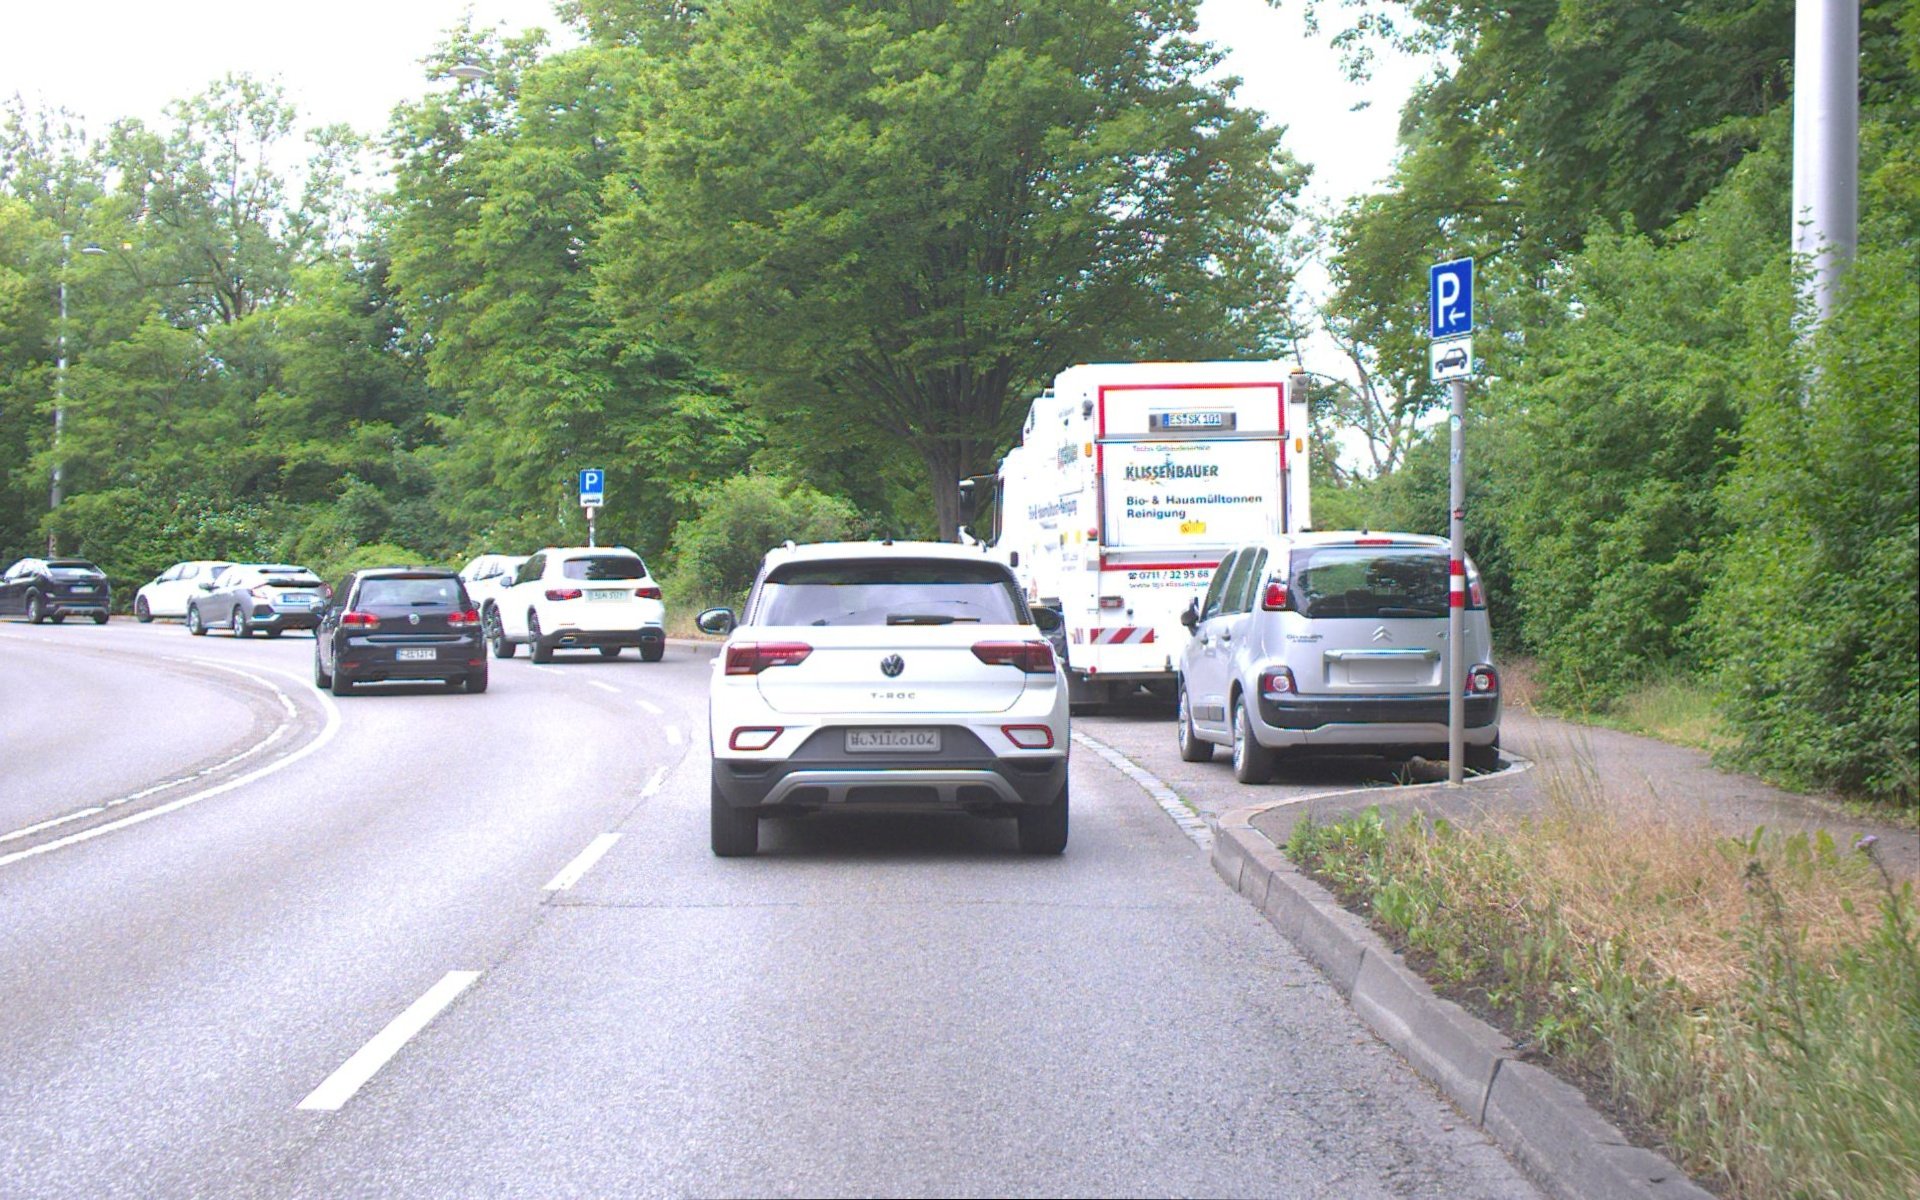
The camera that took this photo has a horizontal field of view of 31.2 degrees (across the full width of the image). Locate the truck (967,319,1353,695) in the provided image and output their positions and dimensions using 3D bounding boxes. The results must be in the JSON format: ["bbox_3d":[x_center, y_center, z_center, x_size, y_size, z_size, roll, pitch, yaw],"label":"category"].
[{"bbox_3d":[1.747,-0.832,33.388,2.481,3.171,7.230,2,0,-6],"label":"truck"}]

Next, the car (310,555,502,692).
[{"bbox_3d":[-6.406,0.257,40.124,1.949,1.461,4.001,-2,0,-6],"label":"car"}]

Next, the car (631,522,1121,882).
[{"bbox_3d":[-0.572,0.462,18.028,2.000,1.590,4.001,3,0,-9],"label":"car"}]

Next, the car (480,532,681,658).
[{"bbox_3d":[-5.538,-0.112,49.779,1.851,1.697,4.001,-1,2,-22],"label":"car"}]

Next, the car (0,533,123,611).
[{"bbox_3d":[-20.508,-0.644,77.739,1.766,1.601,4.000,3,0,-33],"label":"car"}]

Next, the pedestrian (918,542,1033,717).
[{"bbox_3d":[0.170,0.331,39.454,0.917,1.827,0.984,13,0,-1],"label":"pedestrian"}]

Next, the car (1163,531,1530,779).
[{"bbox_3d":[2.529,0.330,23.431,1.802,1.519,4.000,-1,0,-4],"label":"car"}]

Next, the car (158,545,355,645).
[{"bbox_3d":[-13.633,-0.108,66.493,1.994,1.711,3.999,3,0,-40],"label":"car"}]

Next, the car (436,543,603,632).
[{"bbox_3d":[-8.524,-0.262,66.291,1.758,1.646,4.381,0,1,-28],"label":"car"}]
